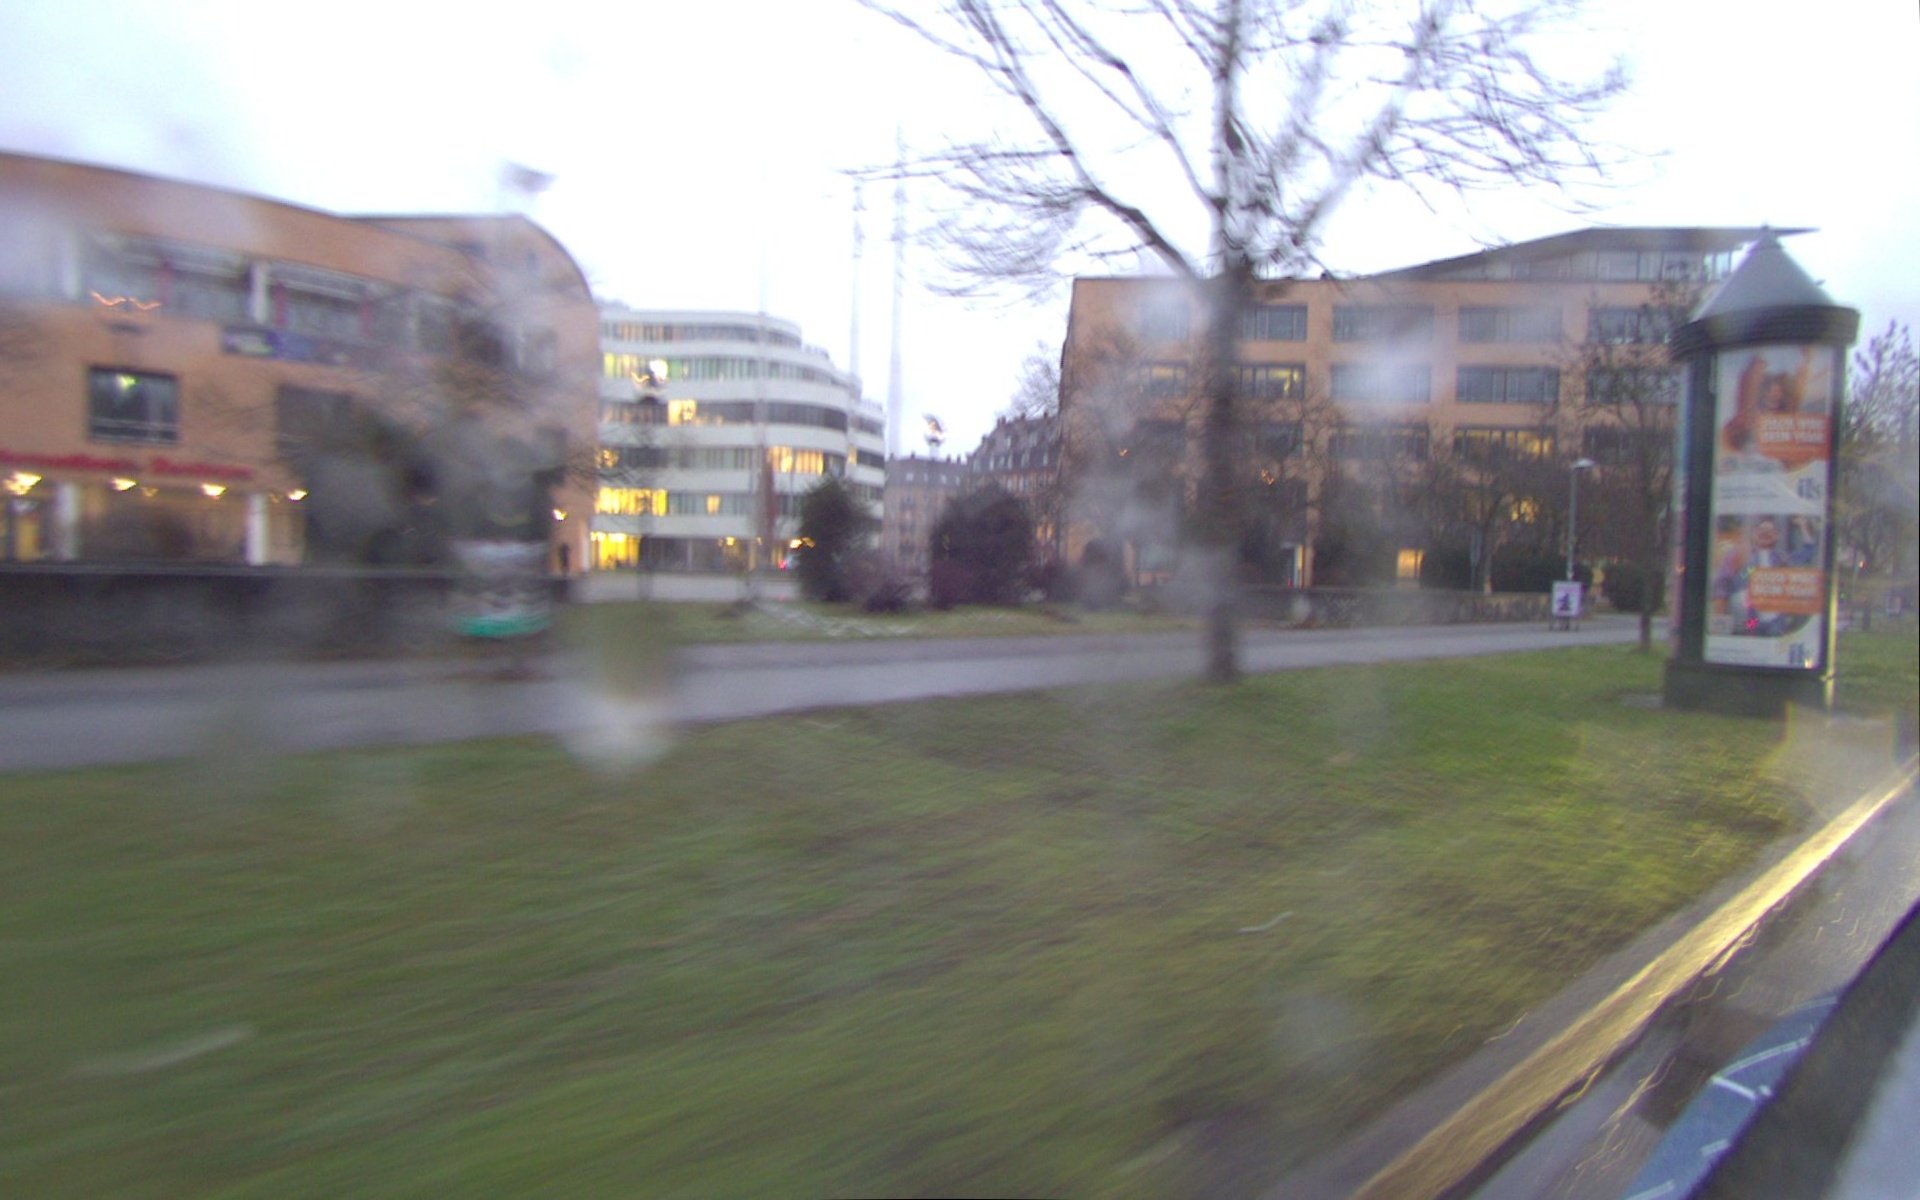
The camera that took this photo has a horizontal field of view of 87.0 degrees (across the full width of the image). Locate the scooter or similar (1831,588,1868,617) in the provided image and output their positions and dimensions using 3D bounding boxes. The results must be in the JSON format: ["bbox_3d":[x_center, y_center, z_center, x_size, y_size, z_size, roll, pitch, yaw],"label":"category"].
[{"bbox_3d":[40.440,0.098,46.011,1.138,1.247,0.482,3,2,34],"label":"scooter or similar"}]
